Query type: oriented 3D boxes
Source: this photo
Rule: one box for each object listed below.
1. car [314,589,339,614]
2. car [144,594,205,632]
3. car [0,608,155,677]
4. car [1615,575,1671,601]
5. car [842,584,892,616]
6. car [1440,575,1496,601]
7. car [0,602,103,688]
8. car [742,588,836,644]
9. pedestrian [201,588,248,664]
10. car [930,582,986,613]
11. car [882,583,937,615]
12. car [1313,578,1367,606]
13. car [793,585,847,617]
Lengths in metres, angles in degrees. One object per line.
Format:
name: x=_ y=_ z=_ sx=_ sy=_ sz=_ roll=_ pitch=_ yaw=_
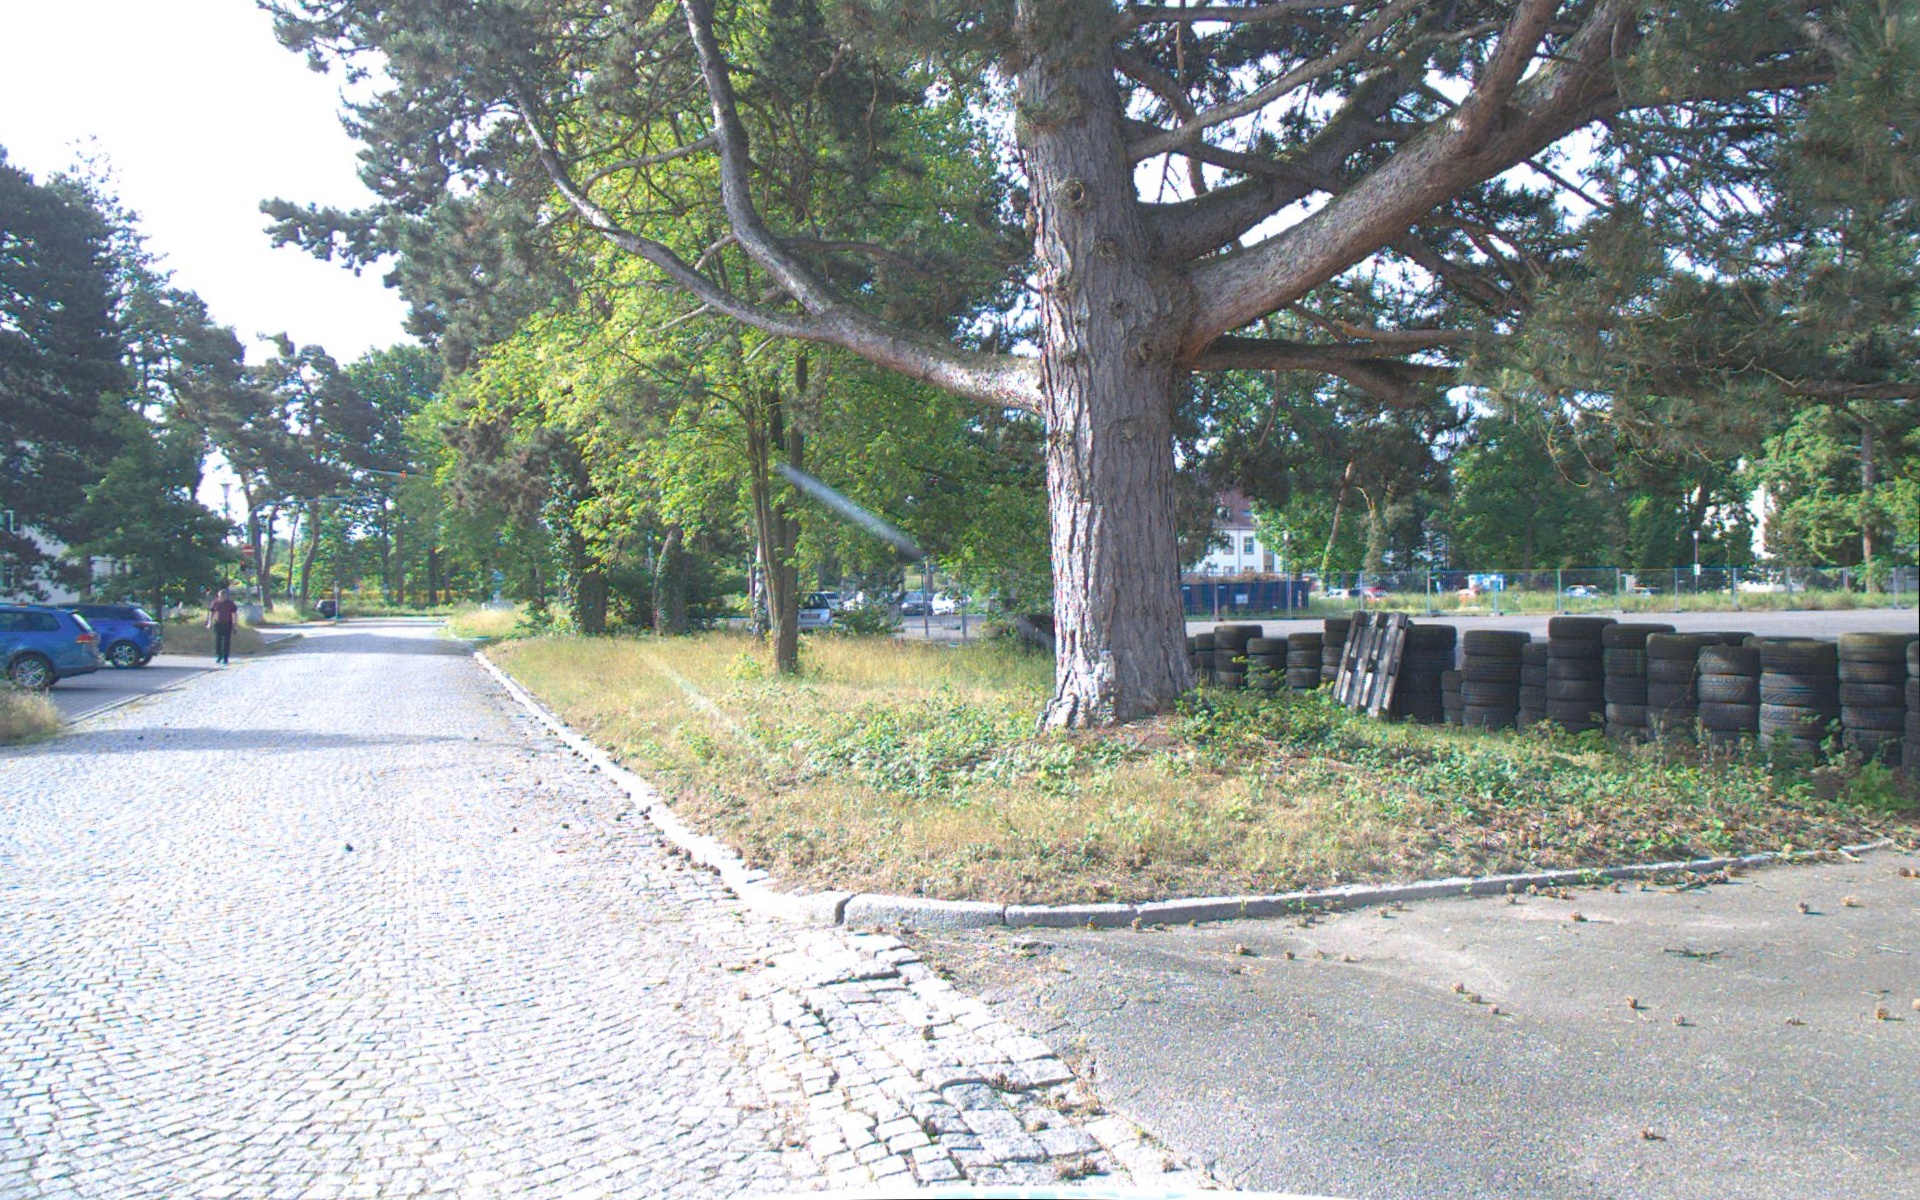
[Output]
car: x=-53.069 y=0.147 z=138.597 sx=1.671 sy=2.049 sz=3.979 roll=-1 pitch=0 yaw=-18
car: x=-35.195 y=0.557 z=74.202 sx=1.963 sy=1.646 sz=3.979 roll=-1 pitch=0 yaw=-18
car: x=-20.279 y=0.952 z=38.102 sx=3.045 sy=1.475 sz=1.480 roll=-1 pitch=0 yaw=-25
car: x=49.299 y=-0.864 z=119.451 sx=1.957 sy=1.780 sz=3.992 roll=-1 pitch=0 yaw=-9
car: x=-5.020 y=0.016 z=88.600 sx=1.792 sy=1.646 sz=3.982 roll=-1 pitch=0 yaw=-16
car: x=35.161 y=-0.825 z=114.590 sx=1.959 sy=1.780 sz=3.987 roll=-1 pitch=0 yaw=-13
car: x=-17.042 y=0.783 z=29.403 sx=3.043 sy=1.483 sz=1.481 roll=2 pitch=-1 yaw=-24
car: x=-5.093 y=0.436 z=48.820 sx=1.859 sy=1.568 sz=3.976 roll=-1 pitch=0 yaw=-20
pedestrian: x=-18.705 y=0.652 z=42.053 sx=0.947 sy=1.876 sz=0.945 roll=-1 pitch=0 yaw=-33
car: x=-0.125 y=-0.122 z=90.942 sx=1.963 sy=1.646 sz=3.979 roll=-1 pitch=0 yaw=-18
car: x=-2.757 y=-0.063 z=89.697 sx=1.963 sy=1.646 sz=3.979 roll=-1 pitch=0 yaw=-18
car: x=25.558 y=-0.544 z=111.452 sx=1.960 sy=1.780 sz=3.986 roll=-1 pitch=0 yaw=-14
car: x=-7.447 y=0.035 z=87.478 sx=1.963 sy=1.646 sz=3.979 roll=-1 pitch=0 yaw=-18
